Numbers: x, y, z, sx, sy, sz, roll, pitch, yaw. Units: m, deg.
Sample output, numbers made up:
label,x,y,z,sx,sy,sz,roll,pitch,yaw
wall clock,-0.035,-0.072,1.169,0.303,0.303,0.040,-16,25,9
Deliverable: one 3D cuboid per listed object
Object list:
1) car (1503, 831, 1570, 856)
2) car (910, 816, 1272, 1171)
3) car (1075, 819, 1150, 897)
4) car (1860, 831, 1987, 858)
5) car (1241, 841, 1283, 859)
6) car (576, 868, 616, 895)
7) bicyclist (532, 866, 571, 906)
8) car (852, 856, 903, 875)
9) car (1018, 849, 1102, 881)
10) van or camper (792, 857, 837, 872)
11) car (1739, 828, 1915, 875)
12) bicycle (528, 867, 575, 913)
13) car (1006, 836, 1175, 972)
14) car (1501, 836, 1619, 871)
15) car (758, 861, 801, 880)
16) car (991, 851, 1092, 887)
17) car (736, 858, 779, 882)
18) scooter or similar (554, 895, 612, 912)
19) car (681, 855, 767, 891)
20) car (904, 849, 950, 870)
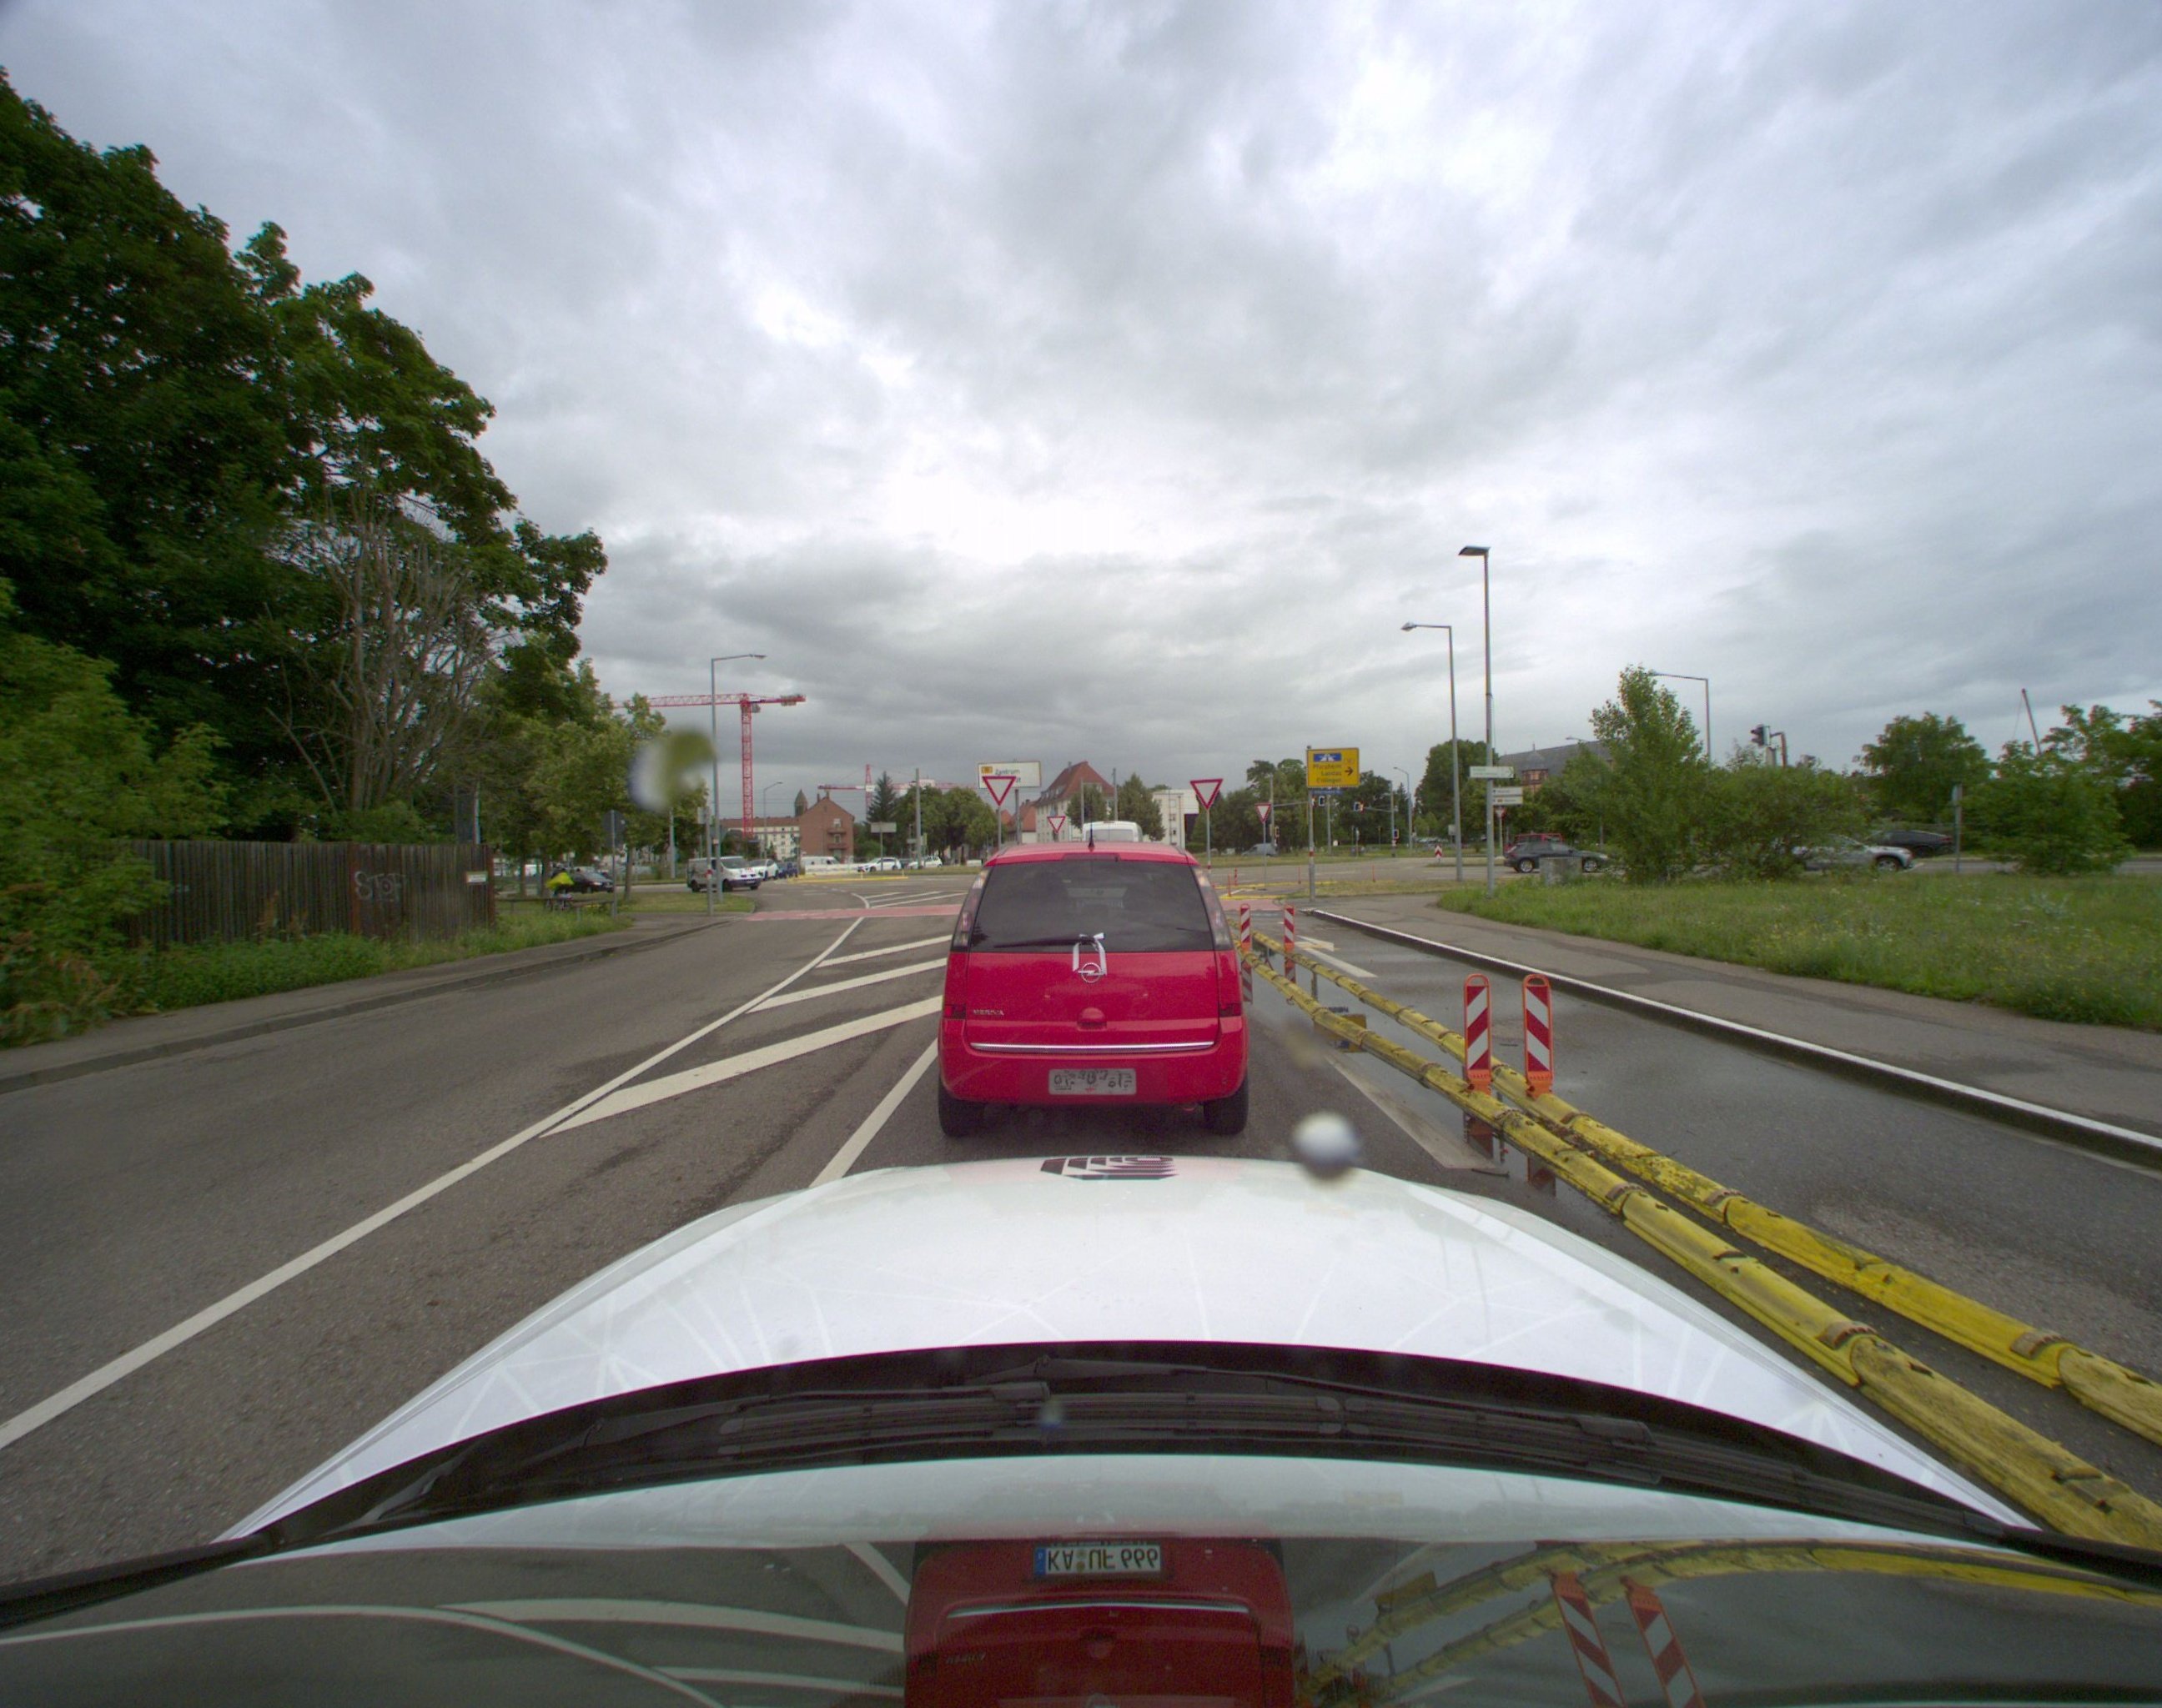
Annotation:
label,x,y,z,sx,sy,sz,roll,pitch,yaw
car,37.455,-0.798,67.083,2.110,1.917,4.871,-2,0,-12
car,0.101,0.644,5.605,1.667,1.640,3.629,-1,0,2
car,1.235,0.130,29.139,2.183,2.540,4.973,-1,0,7
car,45.959,-0.485,44.507,2.011,1.297,4.698,-2,0,-42
car,21.630,-0.515,97.585,4.420,2.013,2.013,-2,0,31
car,-32.111,1.781,53.886,2.106,1.602,4.395,-2,0,-32
bicyclist,-19.127,1.166,29.413,1.053,1.401,0.618,-2,0,18
car,-20.254,1.142,81.282,1.974,1.635,4.705,-2,0,39
car,-1.068,0.542,42.052,3.962,1.508,2.006,-2,0,10
van or camper,-39.637,1.609,121.296,6.135,2.013,2.007,-2,0,12
car,27.825,-0.067,30.593,4.474,1.583,2.012,-2,0,27
bicycle,-19.111,1.287,29.402,1.465,1.612,0.609,-2,0,18
car,0.186,0.606,12.308,2.052,1.648,4.609,-1,0,2
car,21.976,-0.018,37.570,4.276,1.464,2.008,-2,0,15
car,-25.240,1.370,68.369,1.923,1.489,4.002,-2,0,2
car,-1.789,0.689,37.997,4.317,1.464,2.006,-2,0,9
car,-24.562,1.207,62.021,1.928,1.684,4.180,-2,0,-6
scooter or similar,-17.626,1.749,28.858,1.594,0.504,0.929,-2,0,19
car,-20.304,1.112,46.312,4.786,1.900,2.112,-2,0,32
car,-16.213,0.557,86.012,1.974,2.013,4.509,-2,0,37
